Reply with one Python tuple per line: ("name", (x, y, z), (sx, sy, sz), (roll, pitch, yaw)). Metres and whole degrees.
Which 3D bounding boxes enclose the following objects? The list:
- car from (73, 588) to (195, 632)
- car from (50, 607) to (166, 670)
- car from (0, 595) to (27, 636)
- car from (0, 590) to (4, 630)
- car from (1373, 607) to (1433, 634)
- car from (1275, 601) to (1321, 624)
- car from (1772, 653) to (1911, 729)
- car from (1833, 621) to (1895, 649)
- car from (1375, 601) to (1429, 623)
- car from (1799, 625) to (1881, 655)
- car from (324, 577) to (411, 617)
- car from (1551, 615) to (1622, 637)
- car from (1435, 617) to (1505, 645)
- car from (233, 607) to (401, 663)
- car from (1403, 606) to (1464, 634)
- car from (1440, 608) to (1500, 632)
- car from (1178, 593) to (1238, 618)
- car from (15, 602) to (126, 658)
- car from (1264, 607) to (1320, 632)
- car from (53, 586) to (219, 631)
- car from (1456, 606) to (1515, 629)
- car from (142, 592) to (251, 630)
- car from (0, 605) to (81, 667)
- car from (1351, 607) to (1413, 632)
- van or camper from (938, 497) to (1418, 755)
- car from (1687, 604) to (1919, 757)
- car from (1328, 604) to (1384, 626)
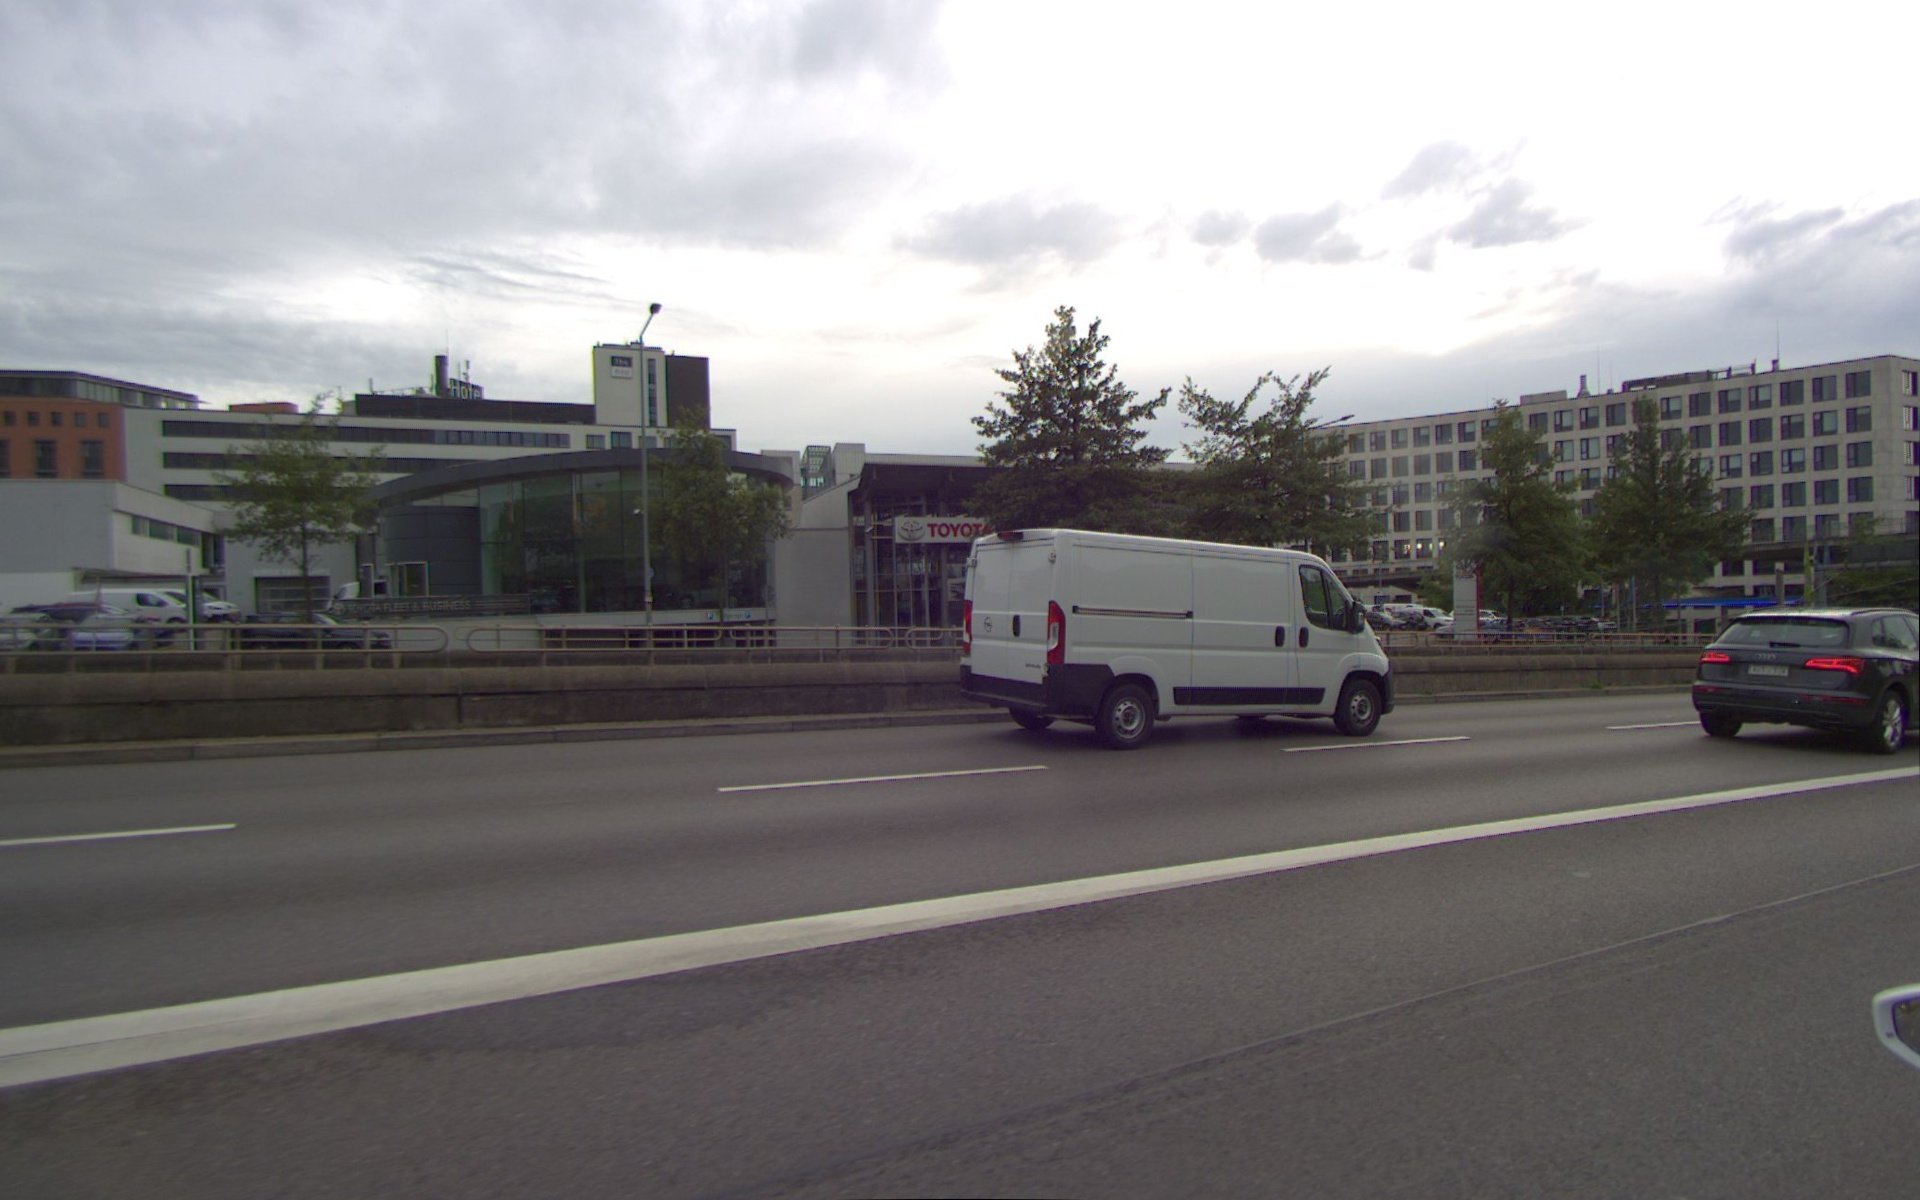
("car", (-38.925, 0.414, 47.461), (3.942, 1.907, 1.989), (-2, 2, -22))
("car", (-27.264, 1.171, 32.296), (1.898, 1.707, 3.972), (-2, 2, -27))
("car", (-43.374, 0.718, 43.423), (3.943, 1.707, 1.912), (-2, 2, -23))
("car", (-42.508, 0.480, 41.436), (3.943, 1.707, 1.912), (-2, 2, -23))
("car", (34.137, 1.561, 77.427), (1.971, 2.040, 3.978), (1, -1, -23))
("car", (31.231, 1.143, 92.777), (3.924, 2.076, 1.998), (0, 2, 24))
("car", (25.436, 2.555, 28.965), (3.954, 1.684, 1.940), (-2, 2, -31))
("car", (61.135, 2.369, 67.918), (4.054, 1.801, 1.984), (2, 0, -30))
("car", (37.866, 1.012, 86.212), (1.800, 1.673, 3.966), (-2, 2, -31))
("car", (48.680, 2.207, 55.563), (3.945, 1.606, 1.988), (1, -1, -25))
("car", (-27.953, -0.167, 47.366), (3.931, 1.806, 1.918), (0, 2, 33))
("car", (44.935, 1.857, 72.140), (1.825, 1.372, 3.974), (1, 1, -25))
("car", (33.815, 2.037, 66.658), (3.931, 1.673, 1.995), (2, 1, 33))
("car", (-22.057, 1.172, 34.623), (4.421, 1.707, 1.920), (-1, 2, -10))
("car", (36.603, 1.517, 77.775), (1.971, 1.901, 3.978), (-2, 2, -22))
("car", (41.006, 1.563, 80.840), (1.971, 1.673, 3.978), (-2, 2, -22))
("car", (17.398, 0.377, 70.472), (3.920, 1.673, 2.000), (0, 2, 18))
("car", (-31.223, 0.997, 35.393), (1.898, 1.707, 3.972), (-2, 2, -27))
("car", (25.716, 1.492, 77.909), (1.971, 1.673, 3.978), (-2, 2, -22))
("car", (-37.225, 0.370, 45.589), (5.456, 1.907, 1.989), (0, 1, -23))
("car", (43.042, 1.438, 82.382), (1.971, 1.673, 3.978), (-2, 2, -22))
("car", (-38.353, 0.533, 50.559), (3.943, 1.707, 1.912), (-2, 2, -23))
("car", (-29.387, 1.080, 31.359), (1.898, 1.707, 3.972), (-2, 2, -27))
("car", (31.895, 1.441, 76.000), (1.976, 1.673, 3.968), (-2, 2, -29))
("van or camper", (2.669, 0.310, 11.909), (5.462, 2.471, 2.195), (1, -1, -28))
("car", (11.346, 0.921, 12.760), (4.694, 1.639, 1.742), (2, -1, -31))
("car", (32.469, 1.204, 82.510), (1.976, 1.673, 3.968), (-2, 2, -29))
